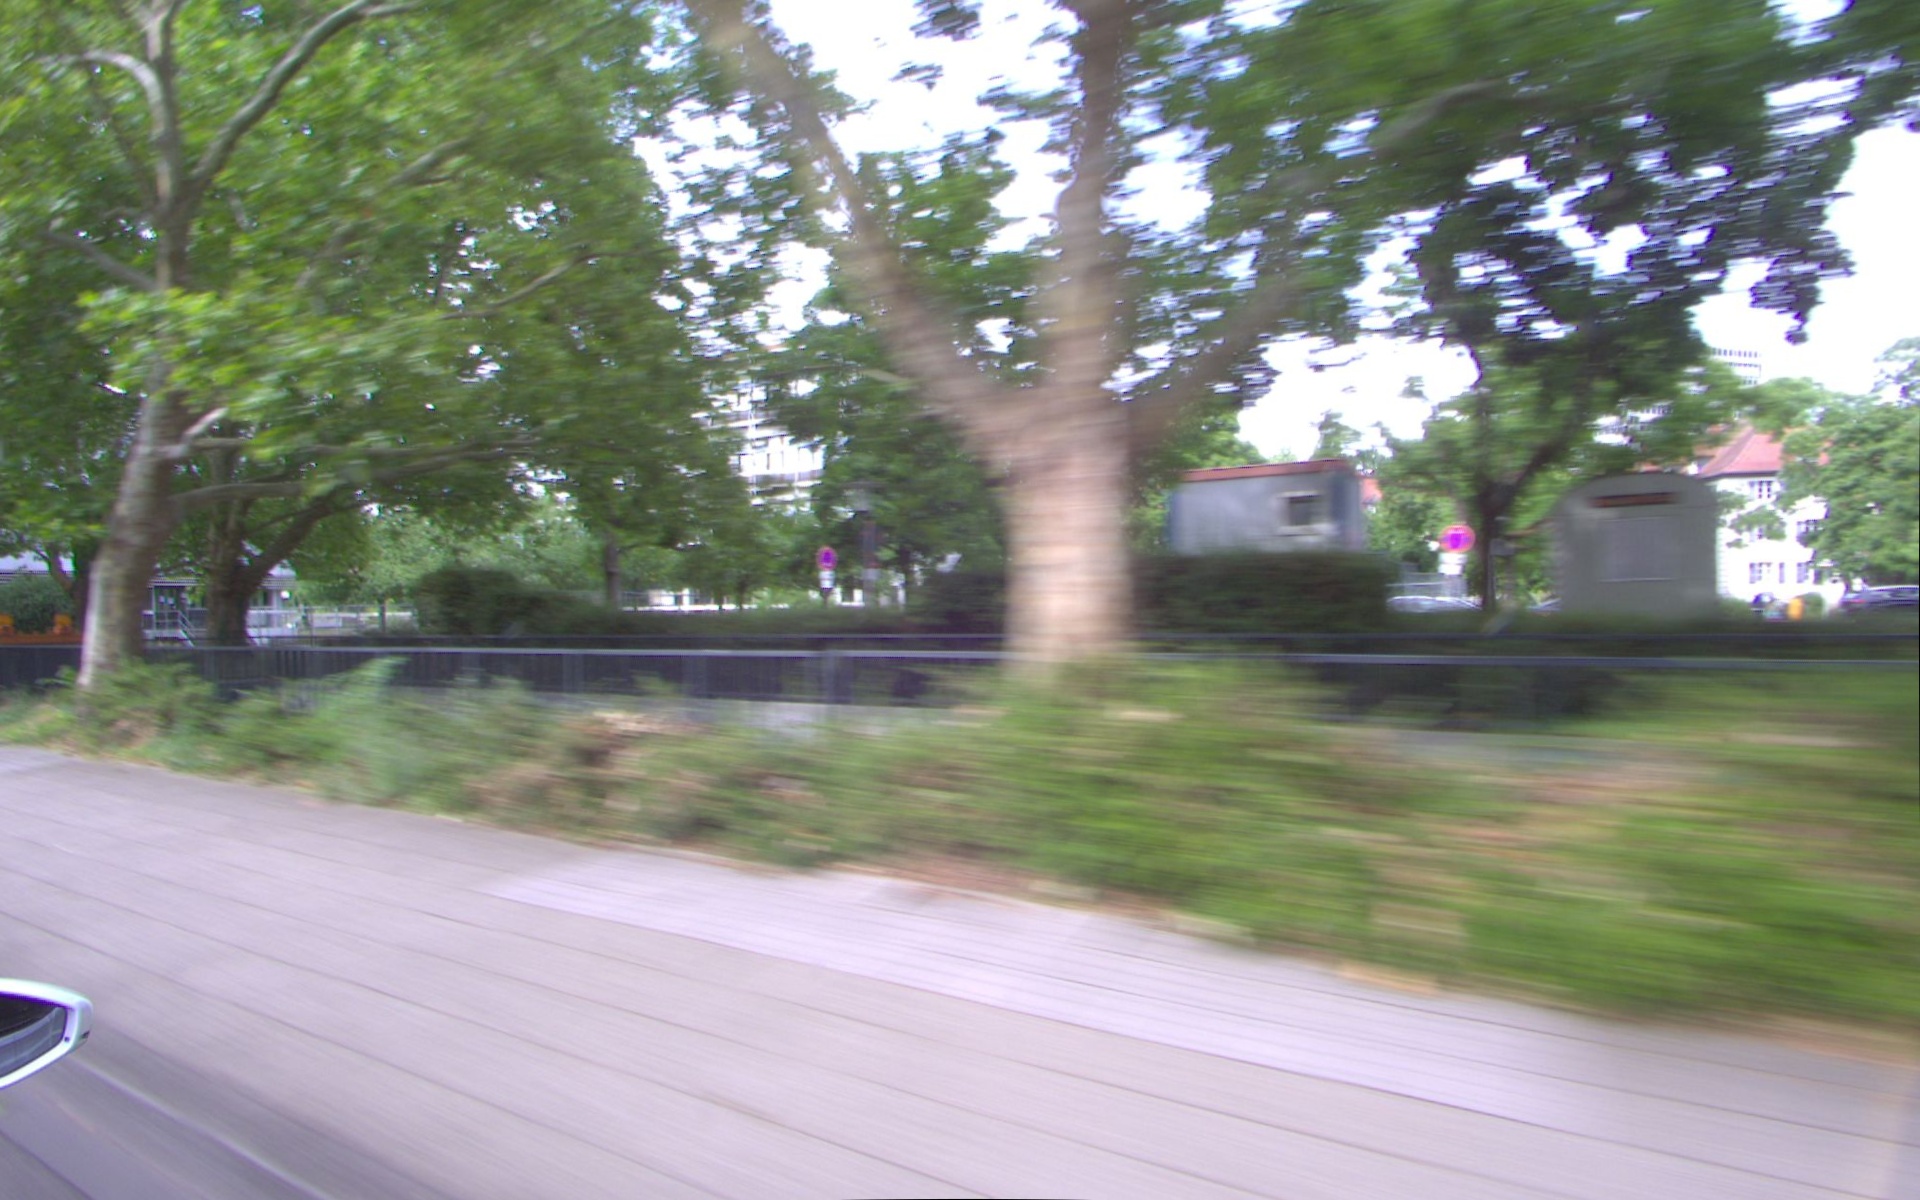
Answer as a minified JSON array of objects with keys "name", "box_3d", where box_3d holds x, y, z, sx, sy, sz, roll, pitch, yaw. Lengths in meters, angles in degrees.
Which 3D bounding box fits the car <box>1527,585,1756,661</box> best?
[{"name":"car","box_3d":[17.420,0.589,25.935,4.699,1.817,1.993,0,-2,28]}]

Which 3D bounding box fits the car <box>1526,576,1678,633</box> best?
[{"name":"car","box_3d":[24.418,0.210,38.305,4.697,2.039,1.994,0,-2,26]}]
